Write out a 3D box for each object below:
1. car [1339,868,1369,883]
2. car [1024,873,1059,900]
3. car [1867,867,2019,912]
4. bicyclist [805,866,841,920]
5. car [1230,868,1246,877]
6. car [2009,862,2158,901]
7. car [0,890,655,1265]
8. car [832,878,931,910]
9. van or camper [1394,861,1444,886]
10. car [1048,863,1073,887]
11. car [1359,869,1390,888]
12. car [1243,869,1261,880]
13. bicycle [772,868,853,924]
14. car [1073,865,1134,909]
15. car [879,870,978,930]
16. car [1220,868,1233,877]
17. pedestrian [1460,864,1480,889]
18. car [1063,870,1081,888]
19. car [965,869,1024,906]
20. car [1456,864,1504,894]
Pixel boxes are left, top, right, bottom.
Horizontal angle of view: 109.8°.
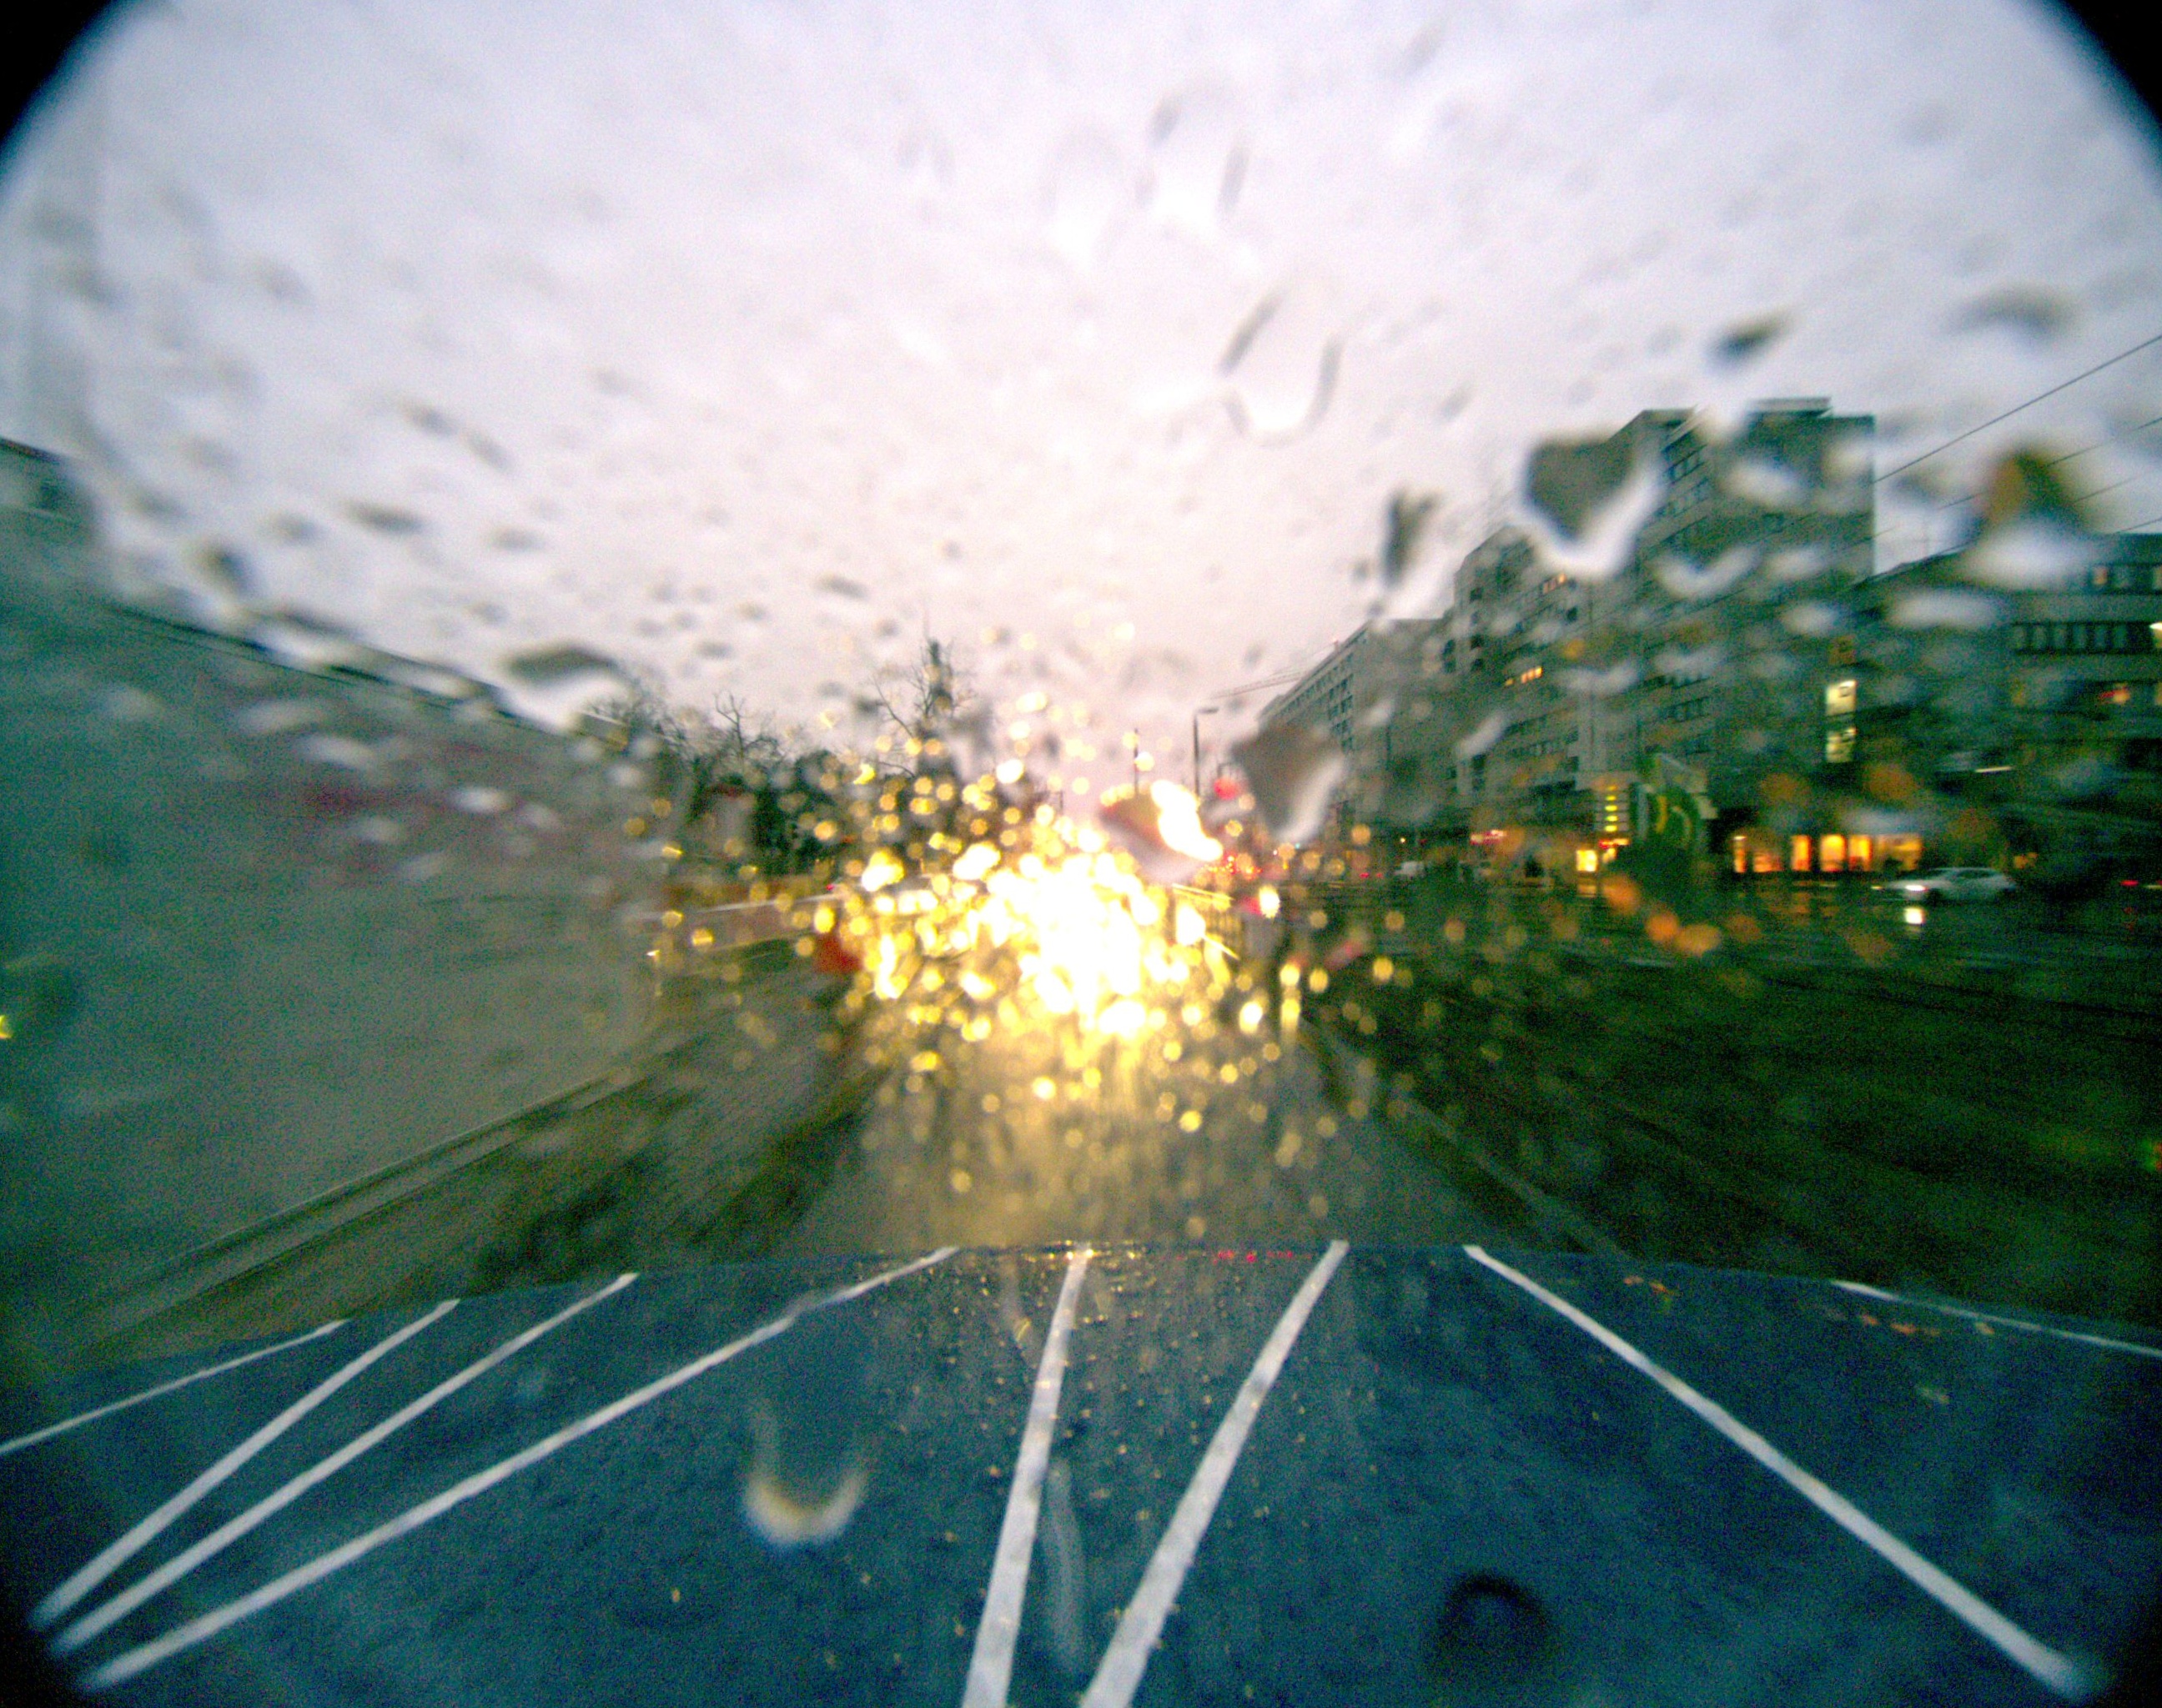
[{"bbox_3d":[31.460,2.416,87.500,3.785,1.608,1.677,-1,0,-43],"label":"car"},{"bbox_3d":[-2.460,1.978,47.641,1.880,1.489,4.077,-1,0,1],"label":"car"},{"bbox_3d":[33.481,1.370,29.578,3.997,1.503,1.685,-3,0,0],"label":"car"},{"bbox_3d":[-8.139,1.230,23.997,0.816,1.669,0.698,-1,0,9],"label":"bicyclist"},{"bbox_3d":[25.260,2.938,122.068,1.754,1.440,3.873,-1,0,0],"label":"car"},{"bbox_3d":[44.238,1.166,33.660,1.622,1.592,3.637,-1,0,-10],"label":"car"},{"bbox_3d":[-5.064,1.126,5.419,1.727,1.470,4.000,-3,0,0],"label":"car"},{"bbox_3d":[-10.222,2.036,39.055,4.511,1.480,1.883,-1,0,9],"label":"car"},{"bbox_3d":[29.929,1.665,67.523,1.998,2.084,5.655,-1,-1,1],"label":"van or camper"},{"bbox_3d":[-1.562,1.559,58.649,1.678,1.739,3.865,-1,0,1],"label":"car"},{"bbox_3d":[25.805,2.151,66.892,1.996,1.536,4.709,-1,0,14],"label":"car"},{"bbox_3d":[25.862,3.059,114.837,1.754,1.503,3.890,-1,0,0],"label":"car"},{"bbox_3d":[-8.469,1.313,24.012,2.244,1.647,0.690,-3,1,7],"label":"bicycle"},{"bbox_3d":[0.835,1.203,28.994,2.160,1.489,4.008,-1,0,1],"label":"car"},{"bbox_3d":[-4.555,1.322,23.528,1.791,1.493,4.968,-1,0,3],"label":"car"},{"bbox_3d":[25.974,3.338,135.684,1.596,1.440,3.873,-1,0,0],"label":"car"},{"bbox_3d":[22.568,1.300,44.106,0.792,1.481,0.630,-1,0,-7],"label":"pedestrian"},{"bbox_3d":[-0.869,2.468,75.416,1.678,1.670,3.865,-1,0,1],"label":"car"},{"bbox_3d":[-3.778,1.436,33.899,1.777,1.453,4.042,-1,0,5],"label":"car"},{"bbox_3d":[30.818,1.907,58.605,1.995,2.002,4.581,-2,0,44],"label":"car"}]
